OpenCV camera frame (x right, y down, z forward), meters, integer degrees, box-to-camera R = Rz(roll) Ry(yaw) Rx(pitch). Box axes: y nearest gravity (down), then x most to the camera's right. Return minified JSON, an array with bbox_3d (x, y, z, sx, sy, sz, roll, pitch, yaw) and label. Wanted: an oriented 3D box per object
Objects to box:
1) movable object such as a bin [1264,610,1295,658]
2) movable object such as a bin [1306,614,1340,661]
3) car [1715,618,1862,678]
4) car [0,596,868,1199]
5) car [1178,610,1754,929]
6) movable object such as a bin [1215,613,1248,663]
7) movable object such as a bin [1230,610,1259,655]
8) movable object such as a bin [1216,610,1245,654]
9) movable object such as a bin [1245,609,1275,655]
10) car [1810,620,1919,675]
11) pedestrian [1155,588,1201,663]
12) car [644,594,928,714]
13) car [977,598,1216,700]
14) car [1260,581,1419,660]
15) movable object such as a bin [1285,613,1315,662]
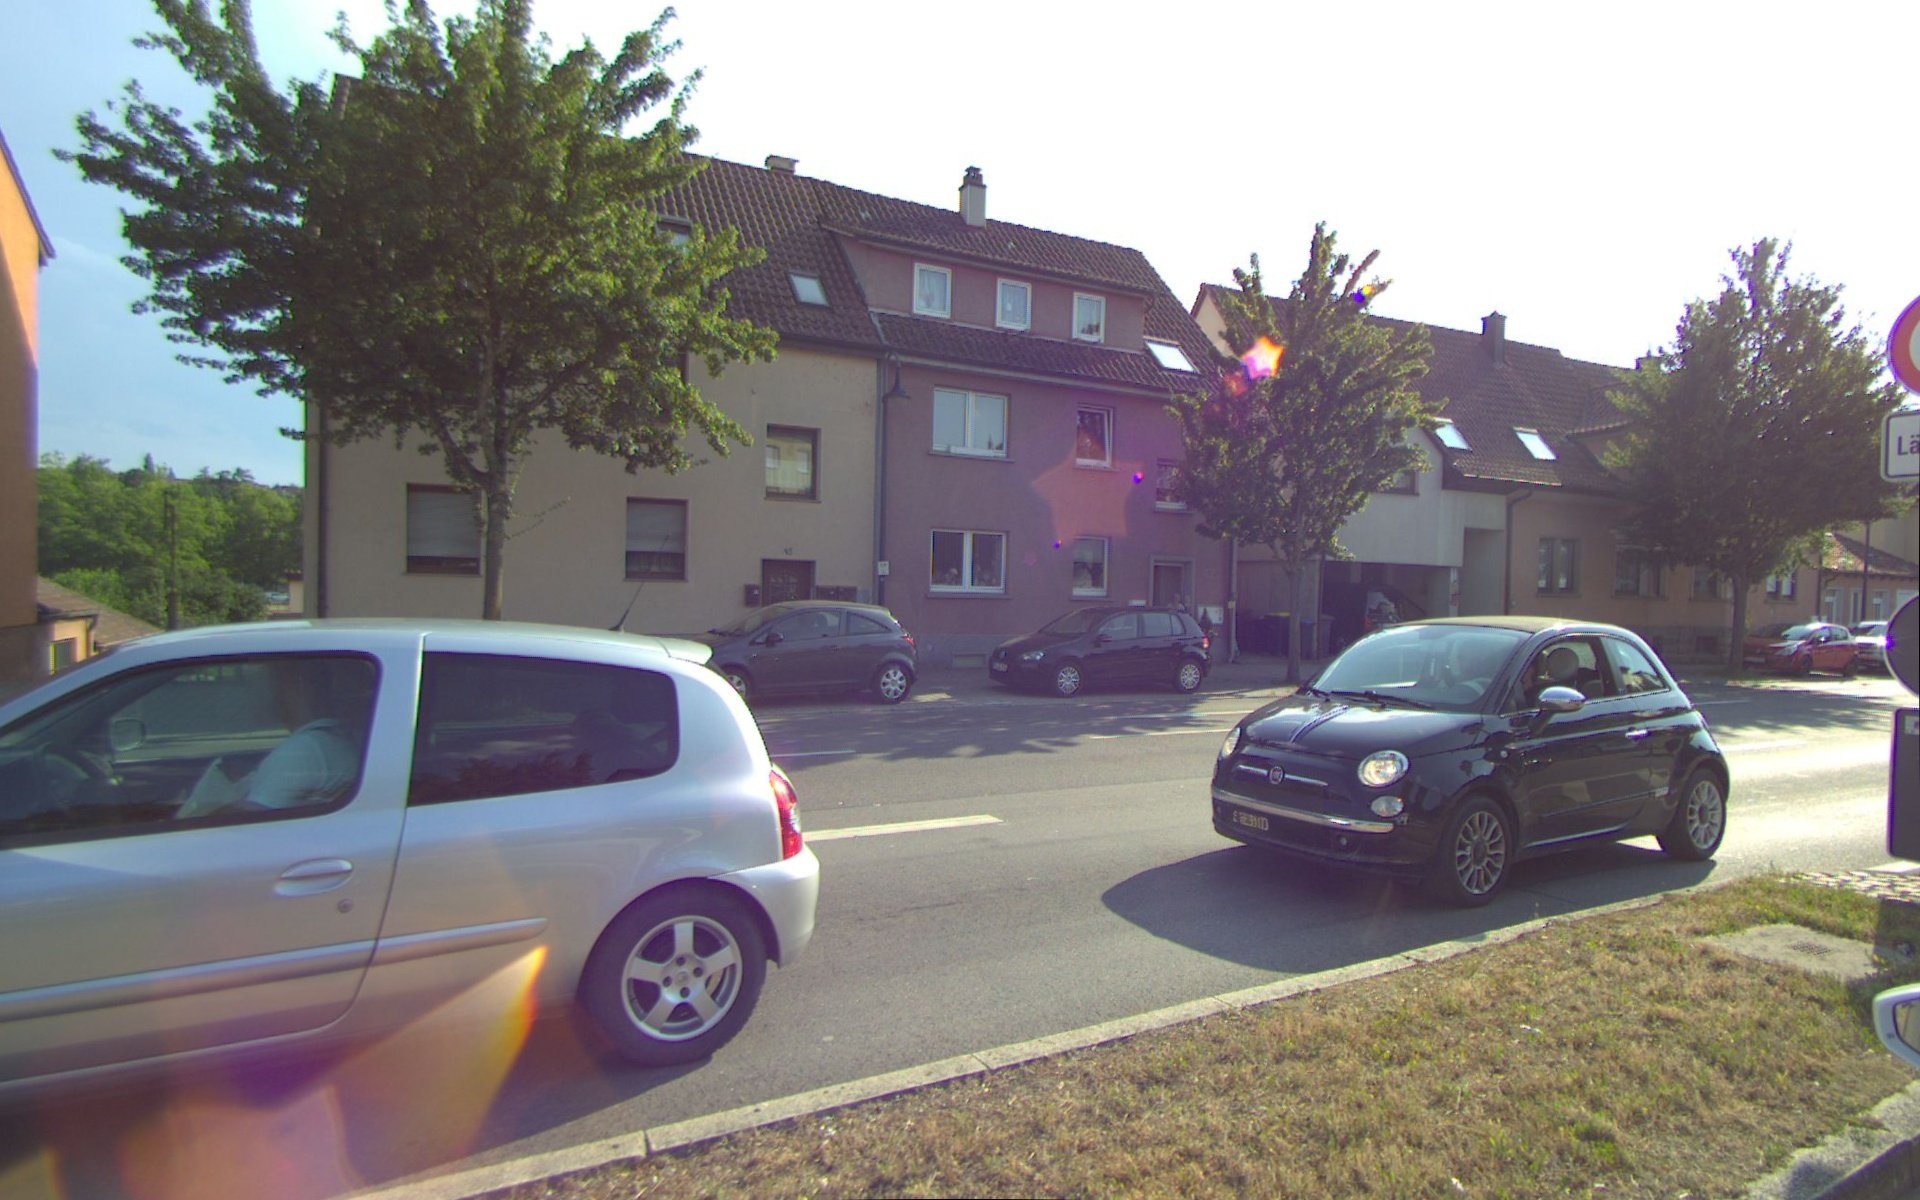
[{"bbox_3d":[7.899,0.839,24.860,0.534,1.152,0.507,0,0,-30],"label":"movable object such as a bin"},{"bbox_3d":[9.059,0.931,25.049,0.570,1.158,0.562,0,0,-35],"label":"movable object such as a bin"},{"bbox_3d":[23.612,1.331,28.628,3.946,1.507,1.660,1,3,-25],"label":"car"},{"bbox_3d":[-2.242,0.728,3.302,3.533,1.446,1.583,1,0,-28],"label":"car"},{"bbox_3d":[3.194,0.817,6.240,3.463,1.481,1.525,0,0,-29],"label":"car"},{"bbox_3d":[6.494,0.897,24.033,0.523,1.158,0.549,0,0,-27],"label":"movable object such as a bin"},{"bbox_3d":[7.353,0.835,25.958,0.534,1.152,0.507,0,0,-30],"label":"movable object such as a bin"},{"bbox_3d":[7.125,0.834,26.431,0.534,1.152,0.507,0,0,-30],"label":"movable object such as a bin"},{"bbox_3d":[7.606,0.799,25.464,0.534,1.152,0.507,0,0,-30],"label":"movable object such as a bin"},{"bbox_3d":[28.288,1.416,30.911,3.947,1.499,1.749,0,3,-26],"label":"car"},{"bbox_3d":[4.971,0.564,22.913,0.763,1.628,0.722,3,2,-3],"label":"pedestrian"},{"bbox_3d":[-2.516,0.721,14.808,3.841,1.531,1.504,1,2,-31],"label":"car"},{"bbox_3d":[2.405,0.803,17.615,3.851,1.553,1.660,1,2,-27],"label":"car"},{"bbox_3d":[10.242,0.493,27.383,1.756,1.906,3.805,1,2,-27],"label":"car"},{"bbox_3d":[8.276,0.903,24.428,0.494,1.152,0.473,0,0,-29],"label":"movable object such as a bin"}]
